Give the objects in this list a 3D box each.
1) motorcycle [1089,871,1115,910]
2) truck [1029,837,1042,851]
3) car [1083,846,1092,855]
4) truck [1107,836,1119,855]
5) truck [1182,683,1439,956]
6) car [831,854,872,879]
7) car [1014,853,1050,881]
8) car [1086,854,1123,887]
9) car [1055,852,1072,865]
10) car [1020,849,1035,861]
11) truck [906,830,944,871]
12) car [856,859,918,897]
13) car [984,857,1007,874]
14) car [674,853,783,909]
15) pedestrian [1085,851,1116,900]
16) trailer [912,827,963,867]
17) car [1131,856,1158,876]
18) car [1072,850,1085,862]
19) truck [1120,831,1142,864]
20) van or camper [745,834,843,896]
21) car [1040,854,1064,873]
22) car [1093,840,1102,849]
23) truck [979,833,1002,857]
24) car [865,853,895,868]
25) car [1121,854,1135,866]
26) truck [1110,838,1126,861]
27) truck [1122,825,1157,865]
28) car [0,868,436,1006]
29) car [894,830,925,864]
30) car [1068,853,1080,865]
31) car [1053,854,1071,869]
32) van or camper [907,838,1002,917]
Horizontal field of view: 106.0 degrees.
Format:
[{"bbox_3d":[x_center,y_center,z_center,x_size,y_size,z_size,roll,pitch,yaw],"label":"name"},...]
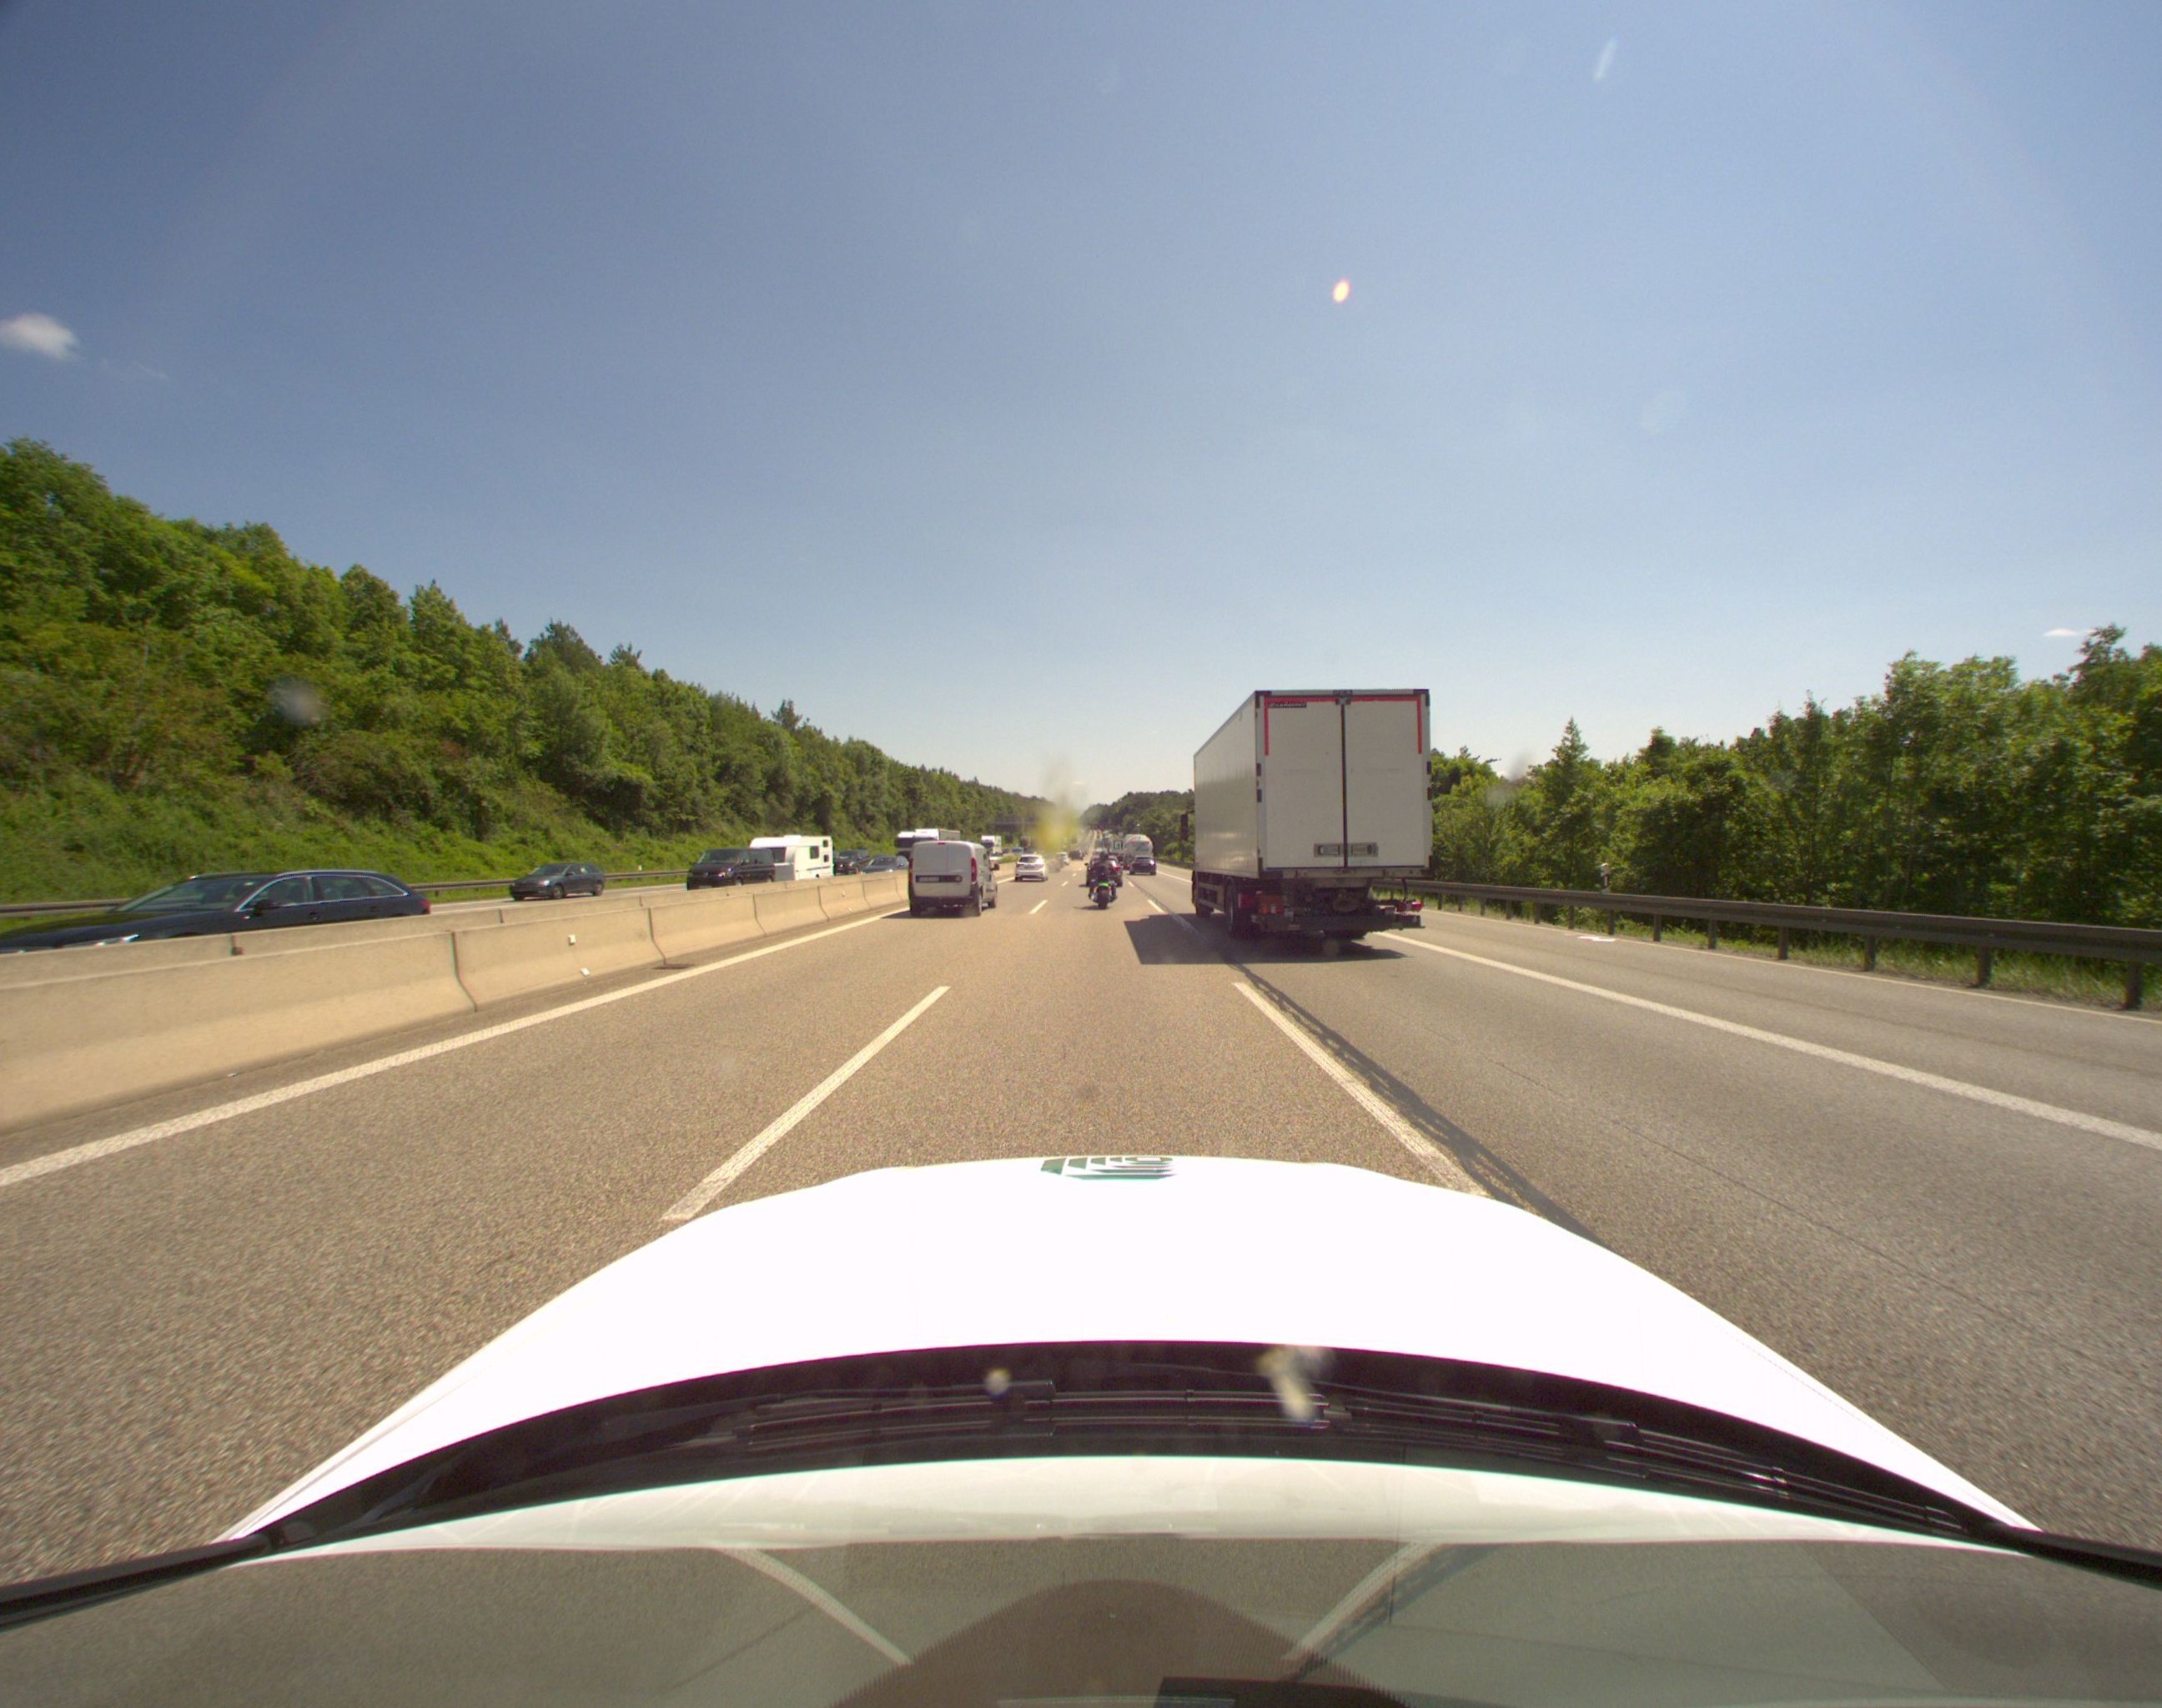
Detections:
[{"bbox_3d":[0.632,1.023,23.562,0.689,1.015,2.123,1,0,2],"label":"motorcycle"},{"bbox_3d":[-13.251,-2.813,237.849,2.896,3.974,7.770,-1,-1,1],"label":"truck"},{"bbox_3d":[1.603,-0.716,190.923,1.922,2.014,4.002,-1,-1,2],"label":"car"},{"bbox_3d":[8.906,-2.432,227.770,3.022,5.139,9.985,2,0,1],"label":"truck"},{"bbox_3d":[3.945,-0.497,16.760,2.678,3.876,9.784,-2,0,2],"label":"truck"},{"bbox_3d":[-17.130,0.884,60.957,1.729,1.809,4.862,-1,0,-1],"label":"car"},{"bbox_3d":[-2.714,0.717,45.964,1.693,1.478,4.001,1,0,1],"label":"car"},{"bbox_3d":[1.207,0.769,39.932,1.525,1.510,4.006,-1,0,5],"label":"car"},{"bbox_3d":[-2.022,0.506,94.837,1.693,1.478,4.001,1,0,1],"label":"car"},{"bbox_3d":[-8.740,0.145,132.655,1.905,1.847,5.037,-1,-1,1],"label":"car"},{"bbox_3d":[-16.622,-0.332,87.094,2.830,4.214,5.661,0,0,1],"label":"truck"},{"bbox_3d":[-9.895,1.177,41.919,1.940,1.802,4.695,-1,-1,2],"label":"car"},{"bbox_3d":[-9.523,1.297,90.833,1.986,1.794,4.001,-1,-1,1],"label":"car"},{"bbox_3d":[-14.108,1.026,32.960,1.986,2.014,5.194,-1,-1,2],"label":"car"},{"bbox_3d":[0.568,0.593,23.436,0.846,1.362,0.962,-1,0,2],"label":"pedestrian"},{"bbox_3d":[-16.346,-0.643,94.091,2.824,4.165,14.743,-1,-1,2],"label":"trailer"},{"bbox_3d":[4.841,0.888,62.283,1.822,1.470,4.001,1,0,1],"label":"car"},{"bbox_3d":[-0.411,0.280,128.692,1.873,1.859,4.001,1,0,1],"label":"car"},{"bbox_3d":[5.479,-0.705,90.286,1.988,3.522,4.749,-1,-1,-1],"label":"truck"},{"bbox_3d":[-14.052,0.506,40.389,2.222,2.761,6.839,-1,0,2],"label":"van or camper"},{"bbox_3d":[-2.360,0.775,66.627,1.693,1.478,4.001,1,0,1],"label":"car"},{"bbox_3d":[4.717,-2.583,229.955,2.495,2.587,5.017,1,0,1],"label":"car"},{"bbox_3d":[-16.185,-1.530,146.257,2.791,4.165,7.605,-1,-1,3],"label":"truck"},{"bbox_3d":[-20.035,0.643,81.504,1.756,1.370,4.502,-1,0,1],"label":"car"},{"bbox_3d":[6.687,0.859,116.258,1.780,1.555,3.804,1,0,1],"label":"car"},{"bbox_3d":[7.539,-0.945,166.690,3.022,4.542,9.985,2,0,1],"label":"truck"},{"bbox_3d":[5.755,-0.793,81.346,2.977,3.671,9.289,-1,-1,1],"label":"truck"},{"bbox_3d":[-11.102,0.923,10.780,1.608,1.376,4.272,-1,0,2],"label":"car"},{"bbox_3d":[-20.198,-0.841,96.144,2.440,3.874,4.566,-1,0,1],"label":"car"},{"bbox_3d":[-1.206,0.945,143.992,1.986,2.014,4.002,-1,-1,2],"label":"car"},{"bbox_3d":[-1.900,0.754,82.444,1.693,1.478,4.001,1,0,1],"label":"car"},{"bbox_3d":[-3.264,0.585,21.779,1.790,1.892,4.160,1,-1,1],"label":"van or camper"}]
